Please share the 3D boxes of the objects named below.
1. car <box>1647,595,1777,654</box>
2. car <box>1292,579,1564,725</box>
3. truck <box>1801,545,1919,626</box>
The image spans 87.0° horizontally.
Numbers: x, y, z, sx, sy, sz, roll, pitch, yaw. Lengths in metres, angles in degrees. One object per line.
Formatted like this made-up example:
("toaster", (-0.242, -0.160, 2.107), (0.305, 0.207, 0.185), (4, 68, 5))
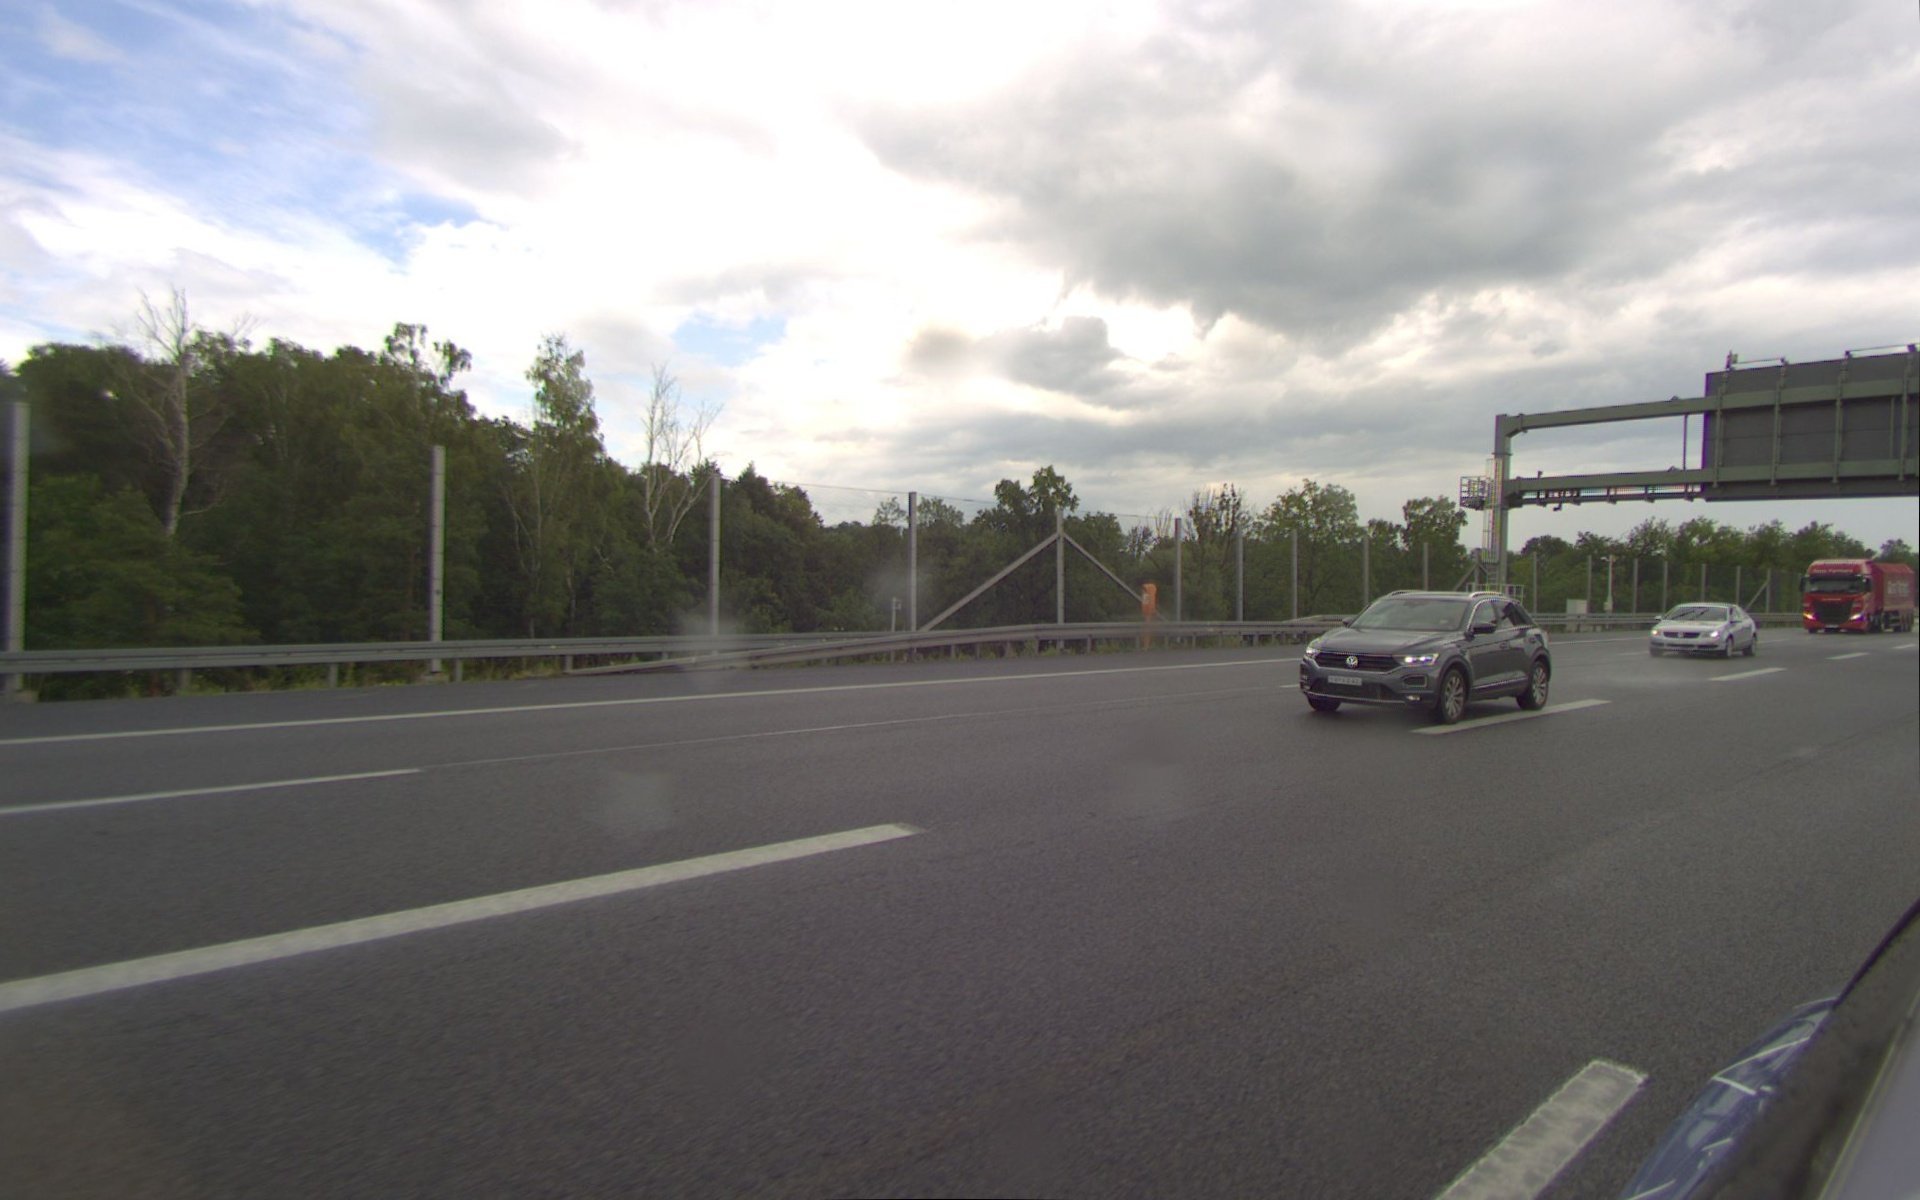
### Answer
("car", (20.672, 0.660, 27.785), (4.169, 1.465, 1.898), (1, 0, -39))
("car", (6.021, 0.566, 12.873), (3.656, 1.582, 1.795), (1, 0, -41))
("truck", (51.317, -0.636, 56.914), (15.351, 4.054, 3.160), (1, 0, -39))
